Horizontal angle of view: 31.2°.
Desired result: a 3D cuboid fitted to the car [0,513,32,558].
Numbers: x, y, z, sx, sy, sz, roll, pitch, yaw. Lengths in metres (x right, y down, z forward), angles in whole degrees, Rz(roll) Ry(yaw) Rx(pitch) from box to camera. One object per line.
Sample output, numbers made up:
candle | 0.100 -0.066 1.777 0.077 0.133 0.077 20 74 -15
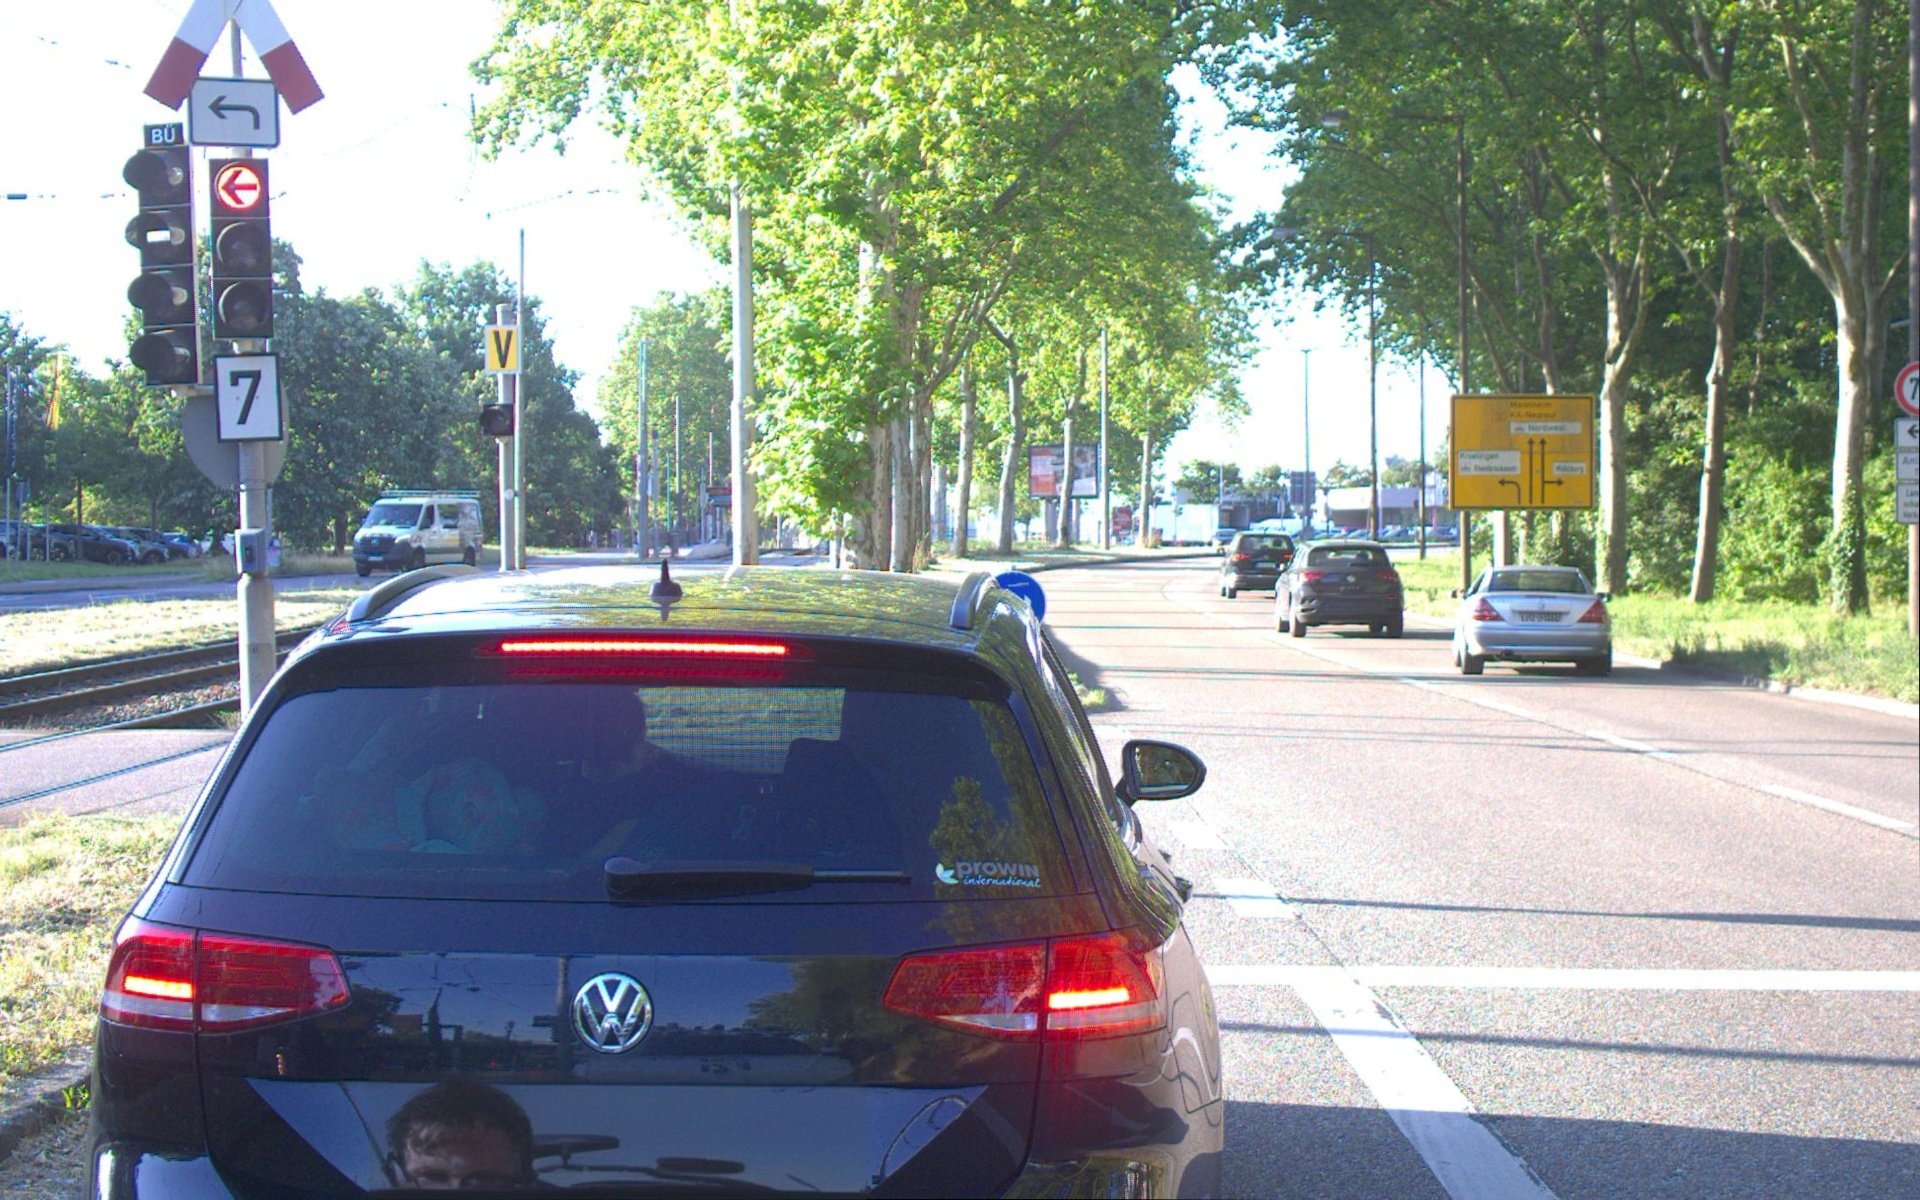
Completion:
car | -35.922 -2.362 124.996 3.986 1.615 1.744 1 1 -5

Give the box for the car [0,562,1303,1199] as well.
car | -0.478 0.682 6.408 1.795 1.459 3.583 1 1 -1

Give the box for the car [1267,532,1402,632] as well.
car | 6.017 -0.318 55.620 1.707 1.555 4.166 0 1 0

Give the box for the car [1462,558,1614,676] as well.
car | 6.872 0.167 41.138 1.609 1.290 3.982 1 1 7

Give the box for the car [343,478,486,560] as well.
car | -16.978 -2.526 107.385 2.097 2.453 5.848 1 1 16

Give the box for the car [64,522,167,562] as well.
car | -35.831 -2.455 145.901 3.986 1.615 1.744 1 1 -5

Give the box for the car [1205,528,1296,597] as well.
car | 7.013 -0.914 83.417 1.872 1.629 4.370 0 1 1

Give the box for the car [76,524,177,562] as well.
car | -36.124 -2.474 149.064 3.986 1.615 1.744 1 1 -5

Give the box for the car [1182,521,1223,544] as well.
car | 14.959 -4.170 212.324 1.993 1.415 4.001 1 1 -4

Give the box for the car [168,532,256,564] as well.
car | -36.516 -2.546 167.977 3.986 1.550 1.744 1 1 -4
